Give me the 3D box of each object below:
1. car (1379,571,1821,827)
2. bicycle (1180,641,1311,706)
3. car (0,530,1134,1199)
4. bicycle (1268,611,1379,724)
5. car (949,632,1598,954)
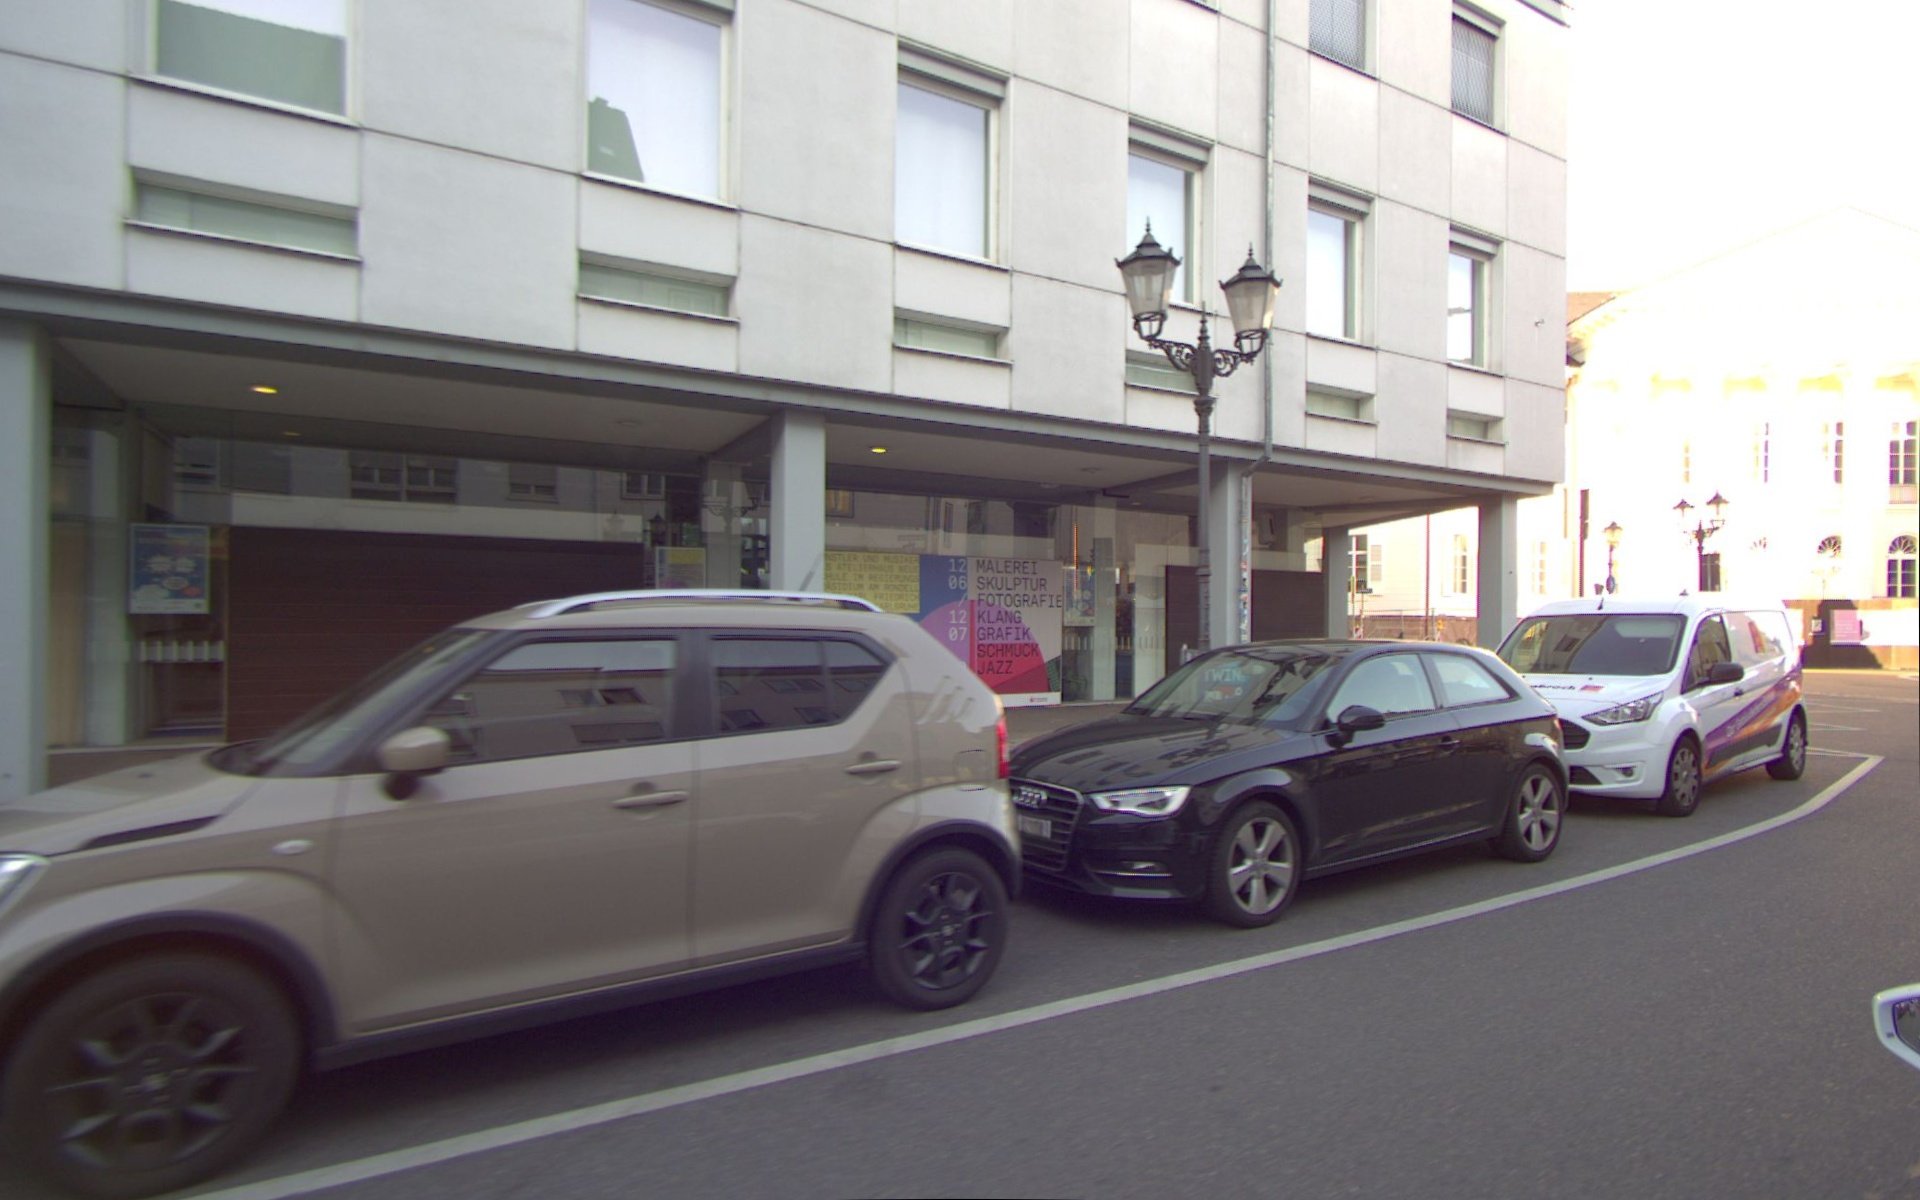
[{"bbox_3d":[6.151,0.743,9.436,4.739,1.840,1.979,1,0,-37],"label":"car"},{"bbox_3d":[4.801,1.204,16.821,2.309,0.997,0.729,1,0,-31],"label":"bicycle"},{"bbox_3d":[-1.445,0.747,4.105,3.957,1.683,1.983,1,-3,-33],"label":"car"},{"bbox_3d":[5.297,0.953,14.607,1.712,1.560,0.575,1,0,-31],"label":"bicycle"},{"bbox_3d":[2.087,0.918,6.281,4.060,1.371,1.668,1,0,-33],"label":"car"}]
